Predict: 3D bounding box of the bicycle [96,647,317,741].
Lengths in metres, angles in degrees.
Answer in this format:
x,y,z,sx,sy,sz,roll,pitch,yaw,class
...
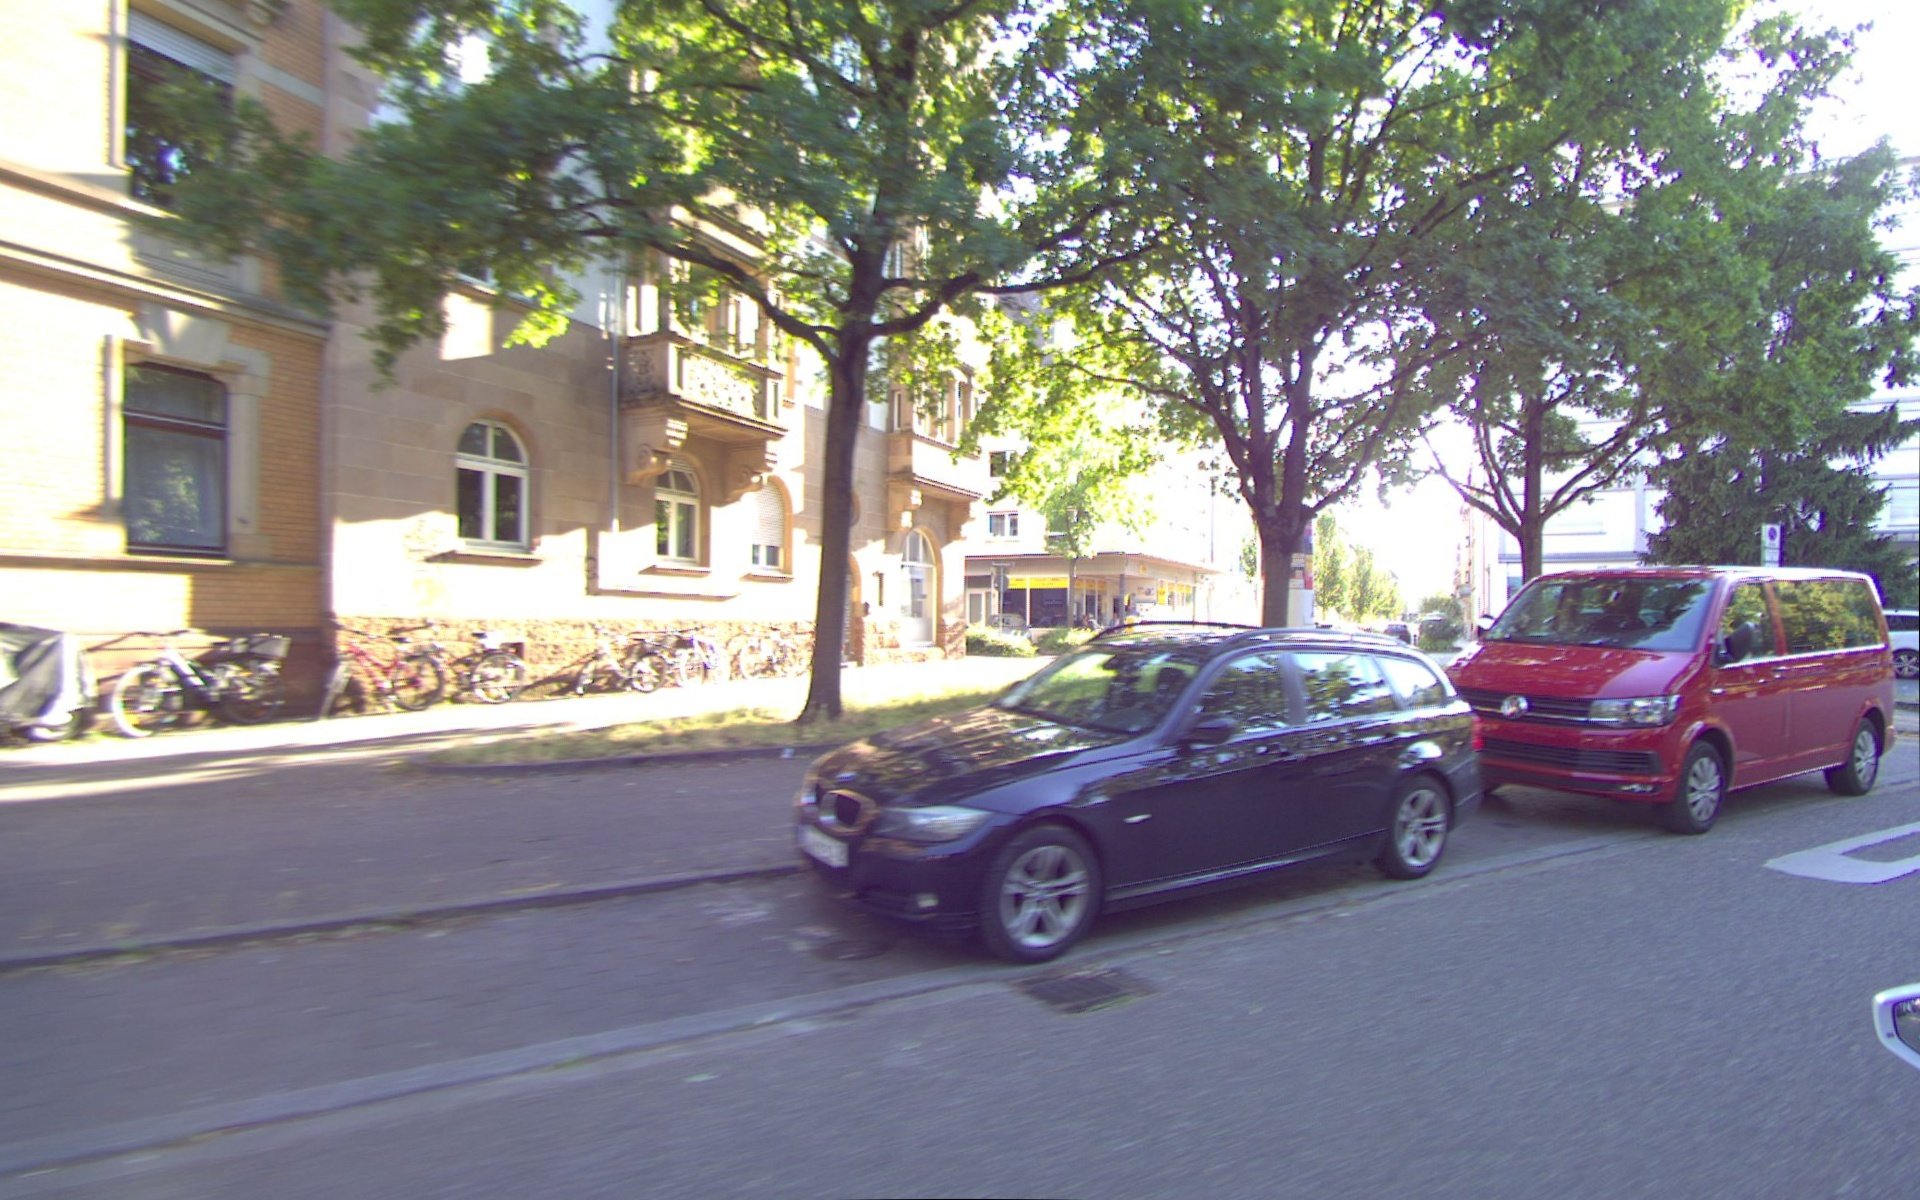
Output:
x,y,z,sx,sy,sz,roll,pitch,yaw,class
-8.045,0.966,10.837,0.515,0.859,1.897,-1,-1,25,bicycle

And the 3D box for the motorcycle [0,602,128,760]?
x,y,z,sx,sy,sz,roll,pitch,yaw,class
-8.728,0.711,8.924,0.795,1.371,1.897,-1,-1,25,motorcycle

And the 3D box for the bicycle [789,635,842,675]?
x,y,z,sx,sy,sz,roll,pitch,yaw,class
-3.053,1.156,21.397,0.362,0.742,1.509,0,0,24,bicycle

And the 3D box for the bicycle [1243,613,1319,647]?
x,y,z,sx,sy,sz,roll,pitch,yaw,class
15.298,1.418,47.888,3.319,1.464,0.880,2,0,29,bicycle

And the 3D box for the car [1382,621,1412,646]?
x,y,z,sx,sy,sz,roll,pitch,yaw,class
32.703,2.491,75.114,1.962,1.808,3.997,-1,-2,25,car

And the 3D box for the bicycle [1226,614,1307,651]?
x,y,z,sx,sy,sz,roll,pitch,yaw,class
13.559,1.427,44.515,3.319,1.464,0.880,2,0,29,bicycle

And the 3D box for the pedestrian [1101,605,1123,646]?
x,y,z,sx,sy,sz,roll,pitch,yaw,class
7.202,1.213,47.571,0.836,1.899,0.890,0,-1,26,pedestrian

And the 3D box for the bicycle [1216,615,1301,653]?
x,y,z,sx,sy,sz,roll,pitch,yaw,class
12.727,1.426,42.894,3.319,1.464,0.880,2,0,29,bicycle

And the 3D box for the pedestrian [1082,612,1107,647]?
x,y,z,sx,sy,sz,roll,pitch,yaw,class
6.265,1.375,46.695,0.875,1.590,0.963,-1,-1,27,pedestrian

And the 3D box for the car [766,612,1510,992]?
x,y,z,sx,sy,sz,roll,pitch,yaw,class
1.190,0.821,5.861,4.225,1.453,1.765,0,1,-33,car

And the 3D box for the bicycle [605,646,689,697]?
x,y,z,sx,sy,sz,roll,pitch,yaw,class
-4.973,1.124,16.041,0.362,0.742,1.509,0,-1,24,bicycle

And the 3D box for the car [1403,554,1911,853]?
x,y,z,sx,sy,sz,roll,pitch,yaw,class
6.053,0.683,8.559,4.717,1.959,1.767,1,1,-31,car

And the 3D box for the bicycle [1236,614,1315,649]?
x,y,z,sx,sy,sz,roll,pitch,yaw,class
14.479,1.429,46.148,3.319,1.464,0.880,2,0,29,bicycle

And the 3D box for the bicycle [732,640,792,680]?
x,y,z,sx,sy,sz,roll,pitch,yaw,class
-3.890,1.166,19.837,0.362,0.742,1.509,0,-1,24,bicycle

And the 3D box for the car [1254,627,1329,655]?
x,y,z,sx,sy,sz,roll,pitch,yaw,class
19.338,2.348,58.633,3.928,1.579,1.742,-1,-1,30,car

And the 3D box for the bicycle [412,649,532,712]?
x,y,z,sx,sy,sz,roll,pitch,yaw,class
-6.397,1.039,13.246,0.407,0.742,1.509,0,-1,24,bicycle

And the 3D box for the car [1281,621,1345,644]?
x,y,z,sx,sy,sz,roll,pitch,yaw,class
24.725,2.246,70.375,3.928,1.579,1.742,-1,-1,30,car

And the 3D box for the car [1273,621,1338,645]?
x,y,z,sx,sy,sz,roll,pitch,yaw,class
23.251,2.207,67.601,3.928,1.579,1.742,-1,-1,30,car

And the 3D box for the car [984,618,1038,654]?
x,y,z,sx,sy,sz,roll,pitch,yaw,class
2.189,1.486,41.894,1.835,1.418,4.003,0,-1,9,car

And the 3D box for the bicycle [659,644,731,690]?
x,y,z,sx,sy,sz,roll,pitch,yaw,class
-4.643,1.155,17.674,0.362,0.742,1.509,0,-1,24,bicycle

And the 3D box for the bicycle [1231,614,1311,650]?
x,y,z,sx,sy,sz,roll,pitch,yaw,class
14.020,1.428,45.314,3.319,1.464,0.880,2,0,29,bicycle

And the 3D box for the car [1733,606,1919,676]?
x,y,z,sx,sy,sz,roll,pitch,yaw,class
20.779,0.906,23.173,1.898,1.470,4.267,-1,-1,-27,car

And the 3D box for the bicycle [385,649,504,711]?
x,y,z,sx,sy,sz,roll,pitch,yaw,class
-6.801,1.036,13.326,0.362,0.742,1.509,0,-1,24,bicycle

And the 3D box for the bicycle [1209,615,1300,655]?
x,y,z,sx,sy,sz,roll,pitch,yaw,class
11.595,1.360,39.549,3.319,1.464,0.880,0,-1,29,bicycle

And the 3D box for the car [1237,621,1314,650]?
x,y,z,sx,sy,sz,roll,pitch,yaw,class
17.953,2.018,57.160,3.928,1.579,1.742,-1,-1,30,car

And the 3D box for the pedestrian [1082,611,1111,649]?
x,y,z,sx,sy,sz,roll,pitch,yaw,class
6.159,1.332,45.326,0.946,1.688,1.214,-1,-1,27,pedestrian

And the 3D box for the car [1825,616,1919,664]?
x,y,z,sx,sy,sz,roll,pitch,yaw,class
31.602,1.320,33.425,3.929,1.553,1.996,-1,-1,30,car

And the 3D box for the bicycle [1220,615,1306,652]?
x,y,z,sx,sy,sz,roll,pitch,yaw,class
12.581,1.372,41.775,3.319,1.464,0.880,0,-1,29,bicycle

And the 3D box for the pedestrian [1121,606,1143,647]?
x,y,z,sx,sy,sz,roll,pitch,yaw,class
8.093,1.235,47.256,0.836,1.899,0.890,0,-1,26,pedestrian

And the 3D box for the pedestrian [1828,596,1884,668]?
x,y,z,sx,sy,sz,roll,pitch,yaw,class
22.590,0.794,25.328,0.861,1.759,0.824,1,0,-31,pedestrian

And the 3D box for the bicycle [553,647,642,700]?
x,y,z,sx,sy,sz,roll,pitch,yaw,class
-5.598,1.115,15.584,0.362,0.742,1.509,0,-1,24,bicycle

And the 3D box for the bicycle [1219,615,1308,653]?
x,y,z,sx,sy,sz,roll,pitch,yaw,class
12.275,1.361,40.706,3.319,1.464,0.880,0,-1,29,bicycle

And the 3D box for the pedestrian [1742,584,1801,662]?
x,y,z,sx,sy,sz,roll,pitch,yaw,class
21.826,0.618,27.028,0.853,2.040,0.978,1,-1,-30,pedestrian
